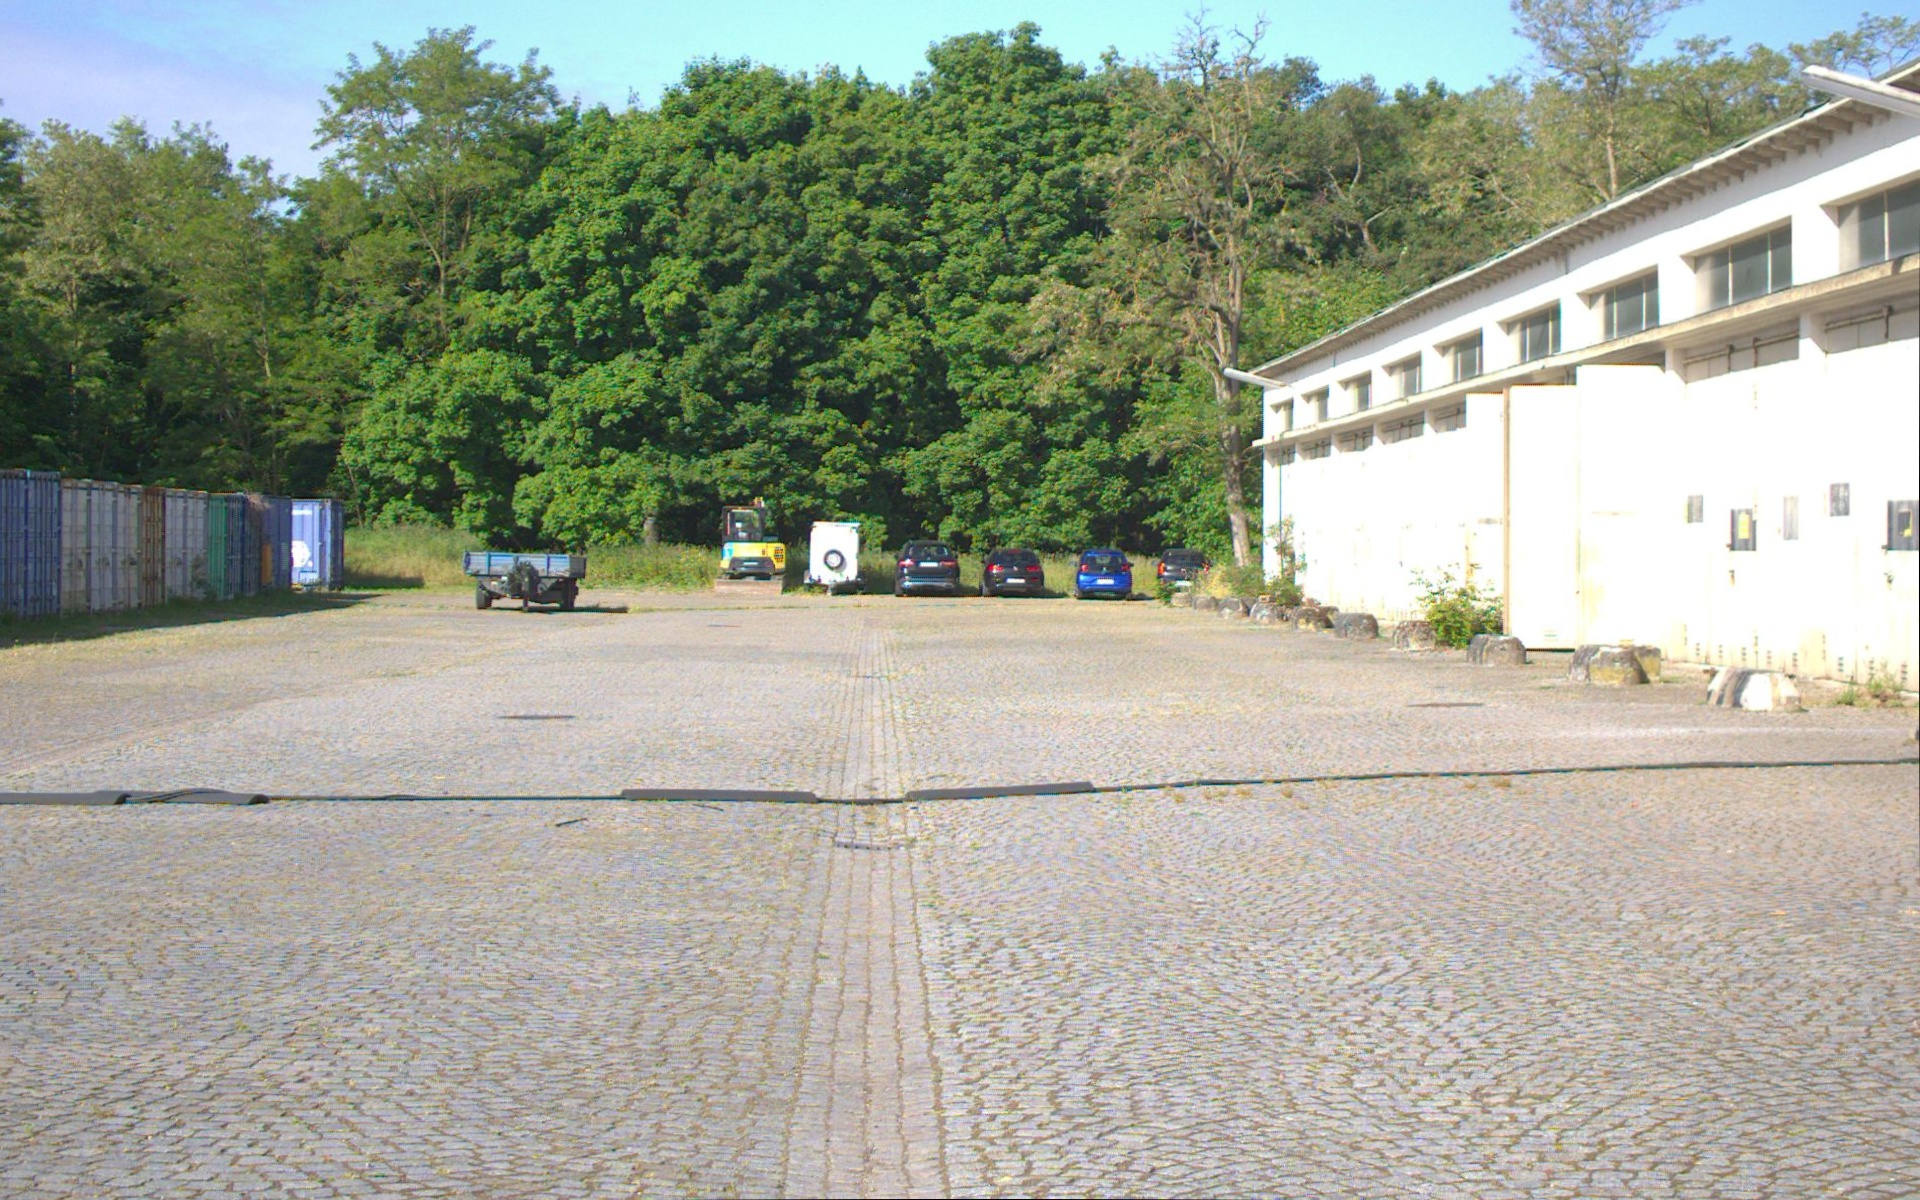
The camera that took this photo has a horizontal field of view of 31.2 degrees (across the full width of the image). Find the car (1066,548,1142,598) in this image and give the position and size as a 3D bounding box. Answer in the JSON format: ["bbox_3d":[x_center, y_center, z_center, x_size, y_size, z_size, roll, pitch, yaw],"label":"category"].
[{"bbox_3d":[4.236,-0.799,100.666,1.994,1.415,3.999,0,1,6],"label":"car"}]

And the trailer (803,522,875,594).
[{"bbox_3d":[-3.564,-1.242,102.017,1.794,2.083,3.971,0,1,3],"label":"trailer"}]

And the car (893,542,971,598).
[{"bbox_3d":[-0.799,-0.880,100.376,1.862,1.580,3.999,0,1,6],"label":"car"}]

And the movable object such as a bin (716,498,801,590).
[{"bbox_3d":[-5.965,-1.667,102.243,1.994,2.609,4.000,2,1,3],"label":"movable object such as a bin"}]

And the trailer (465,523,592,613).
[{"bbox_3d":[-10.366,-0.790,82.844,2.407,2.007,4.173,3,1,1],"label":"trailer"}]

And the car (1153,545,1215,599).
[{"bbox_3d":[6.657,-0.839,101.944,1.685,1.558,3.999,0,1,6],"label":"car"}]

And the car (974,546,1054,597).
[{"bbox_3d":[1.604,-0.839,100.615,1.994,1.458,3.999,0,1,6],"label":"car"}]
